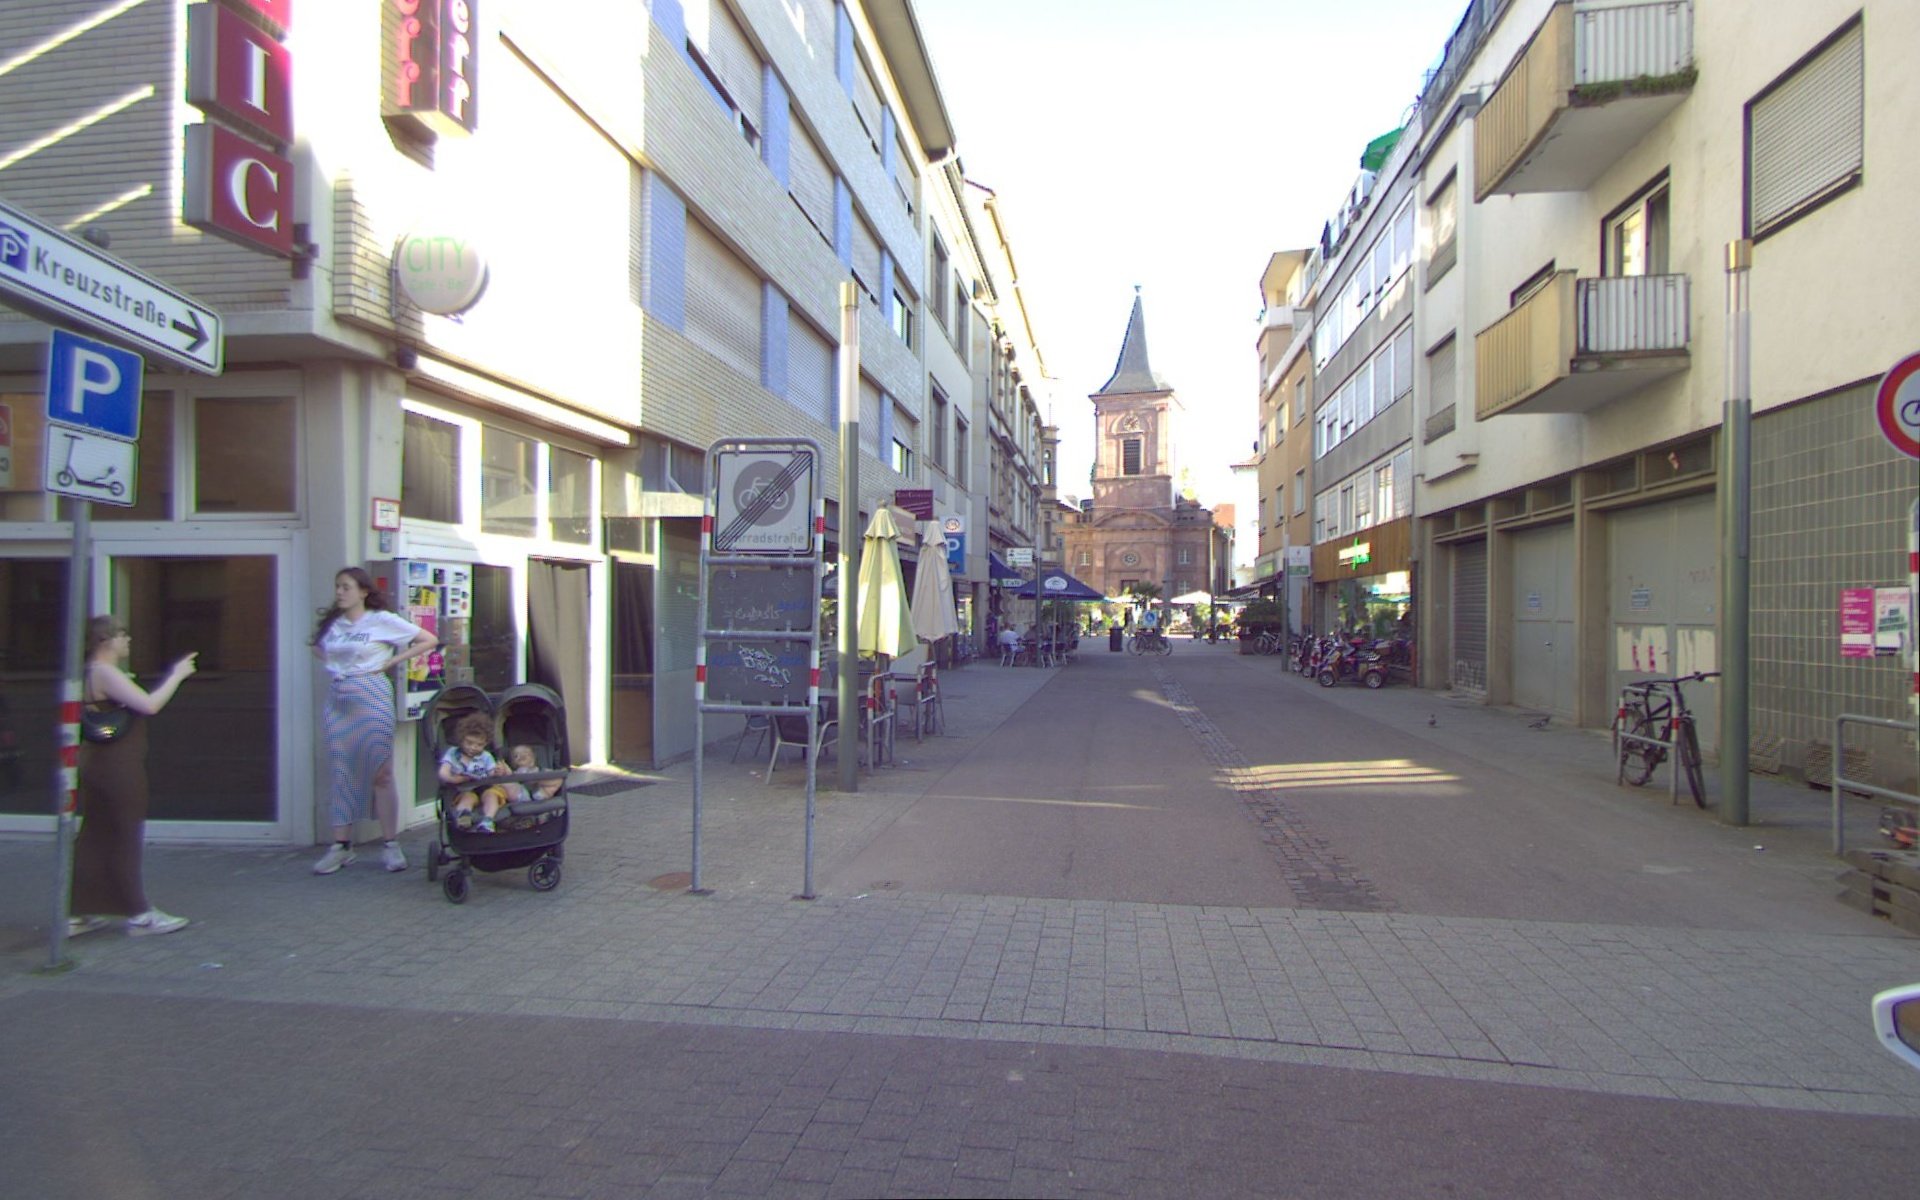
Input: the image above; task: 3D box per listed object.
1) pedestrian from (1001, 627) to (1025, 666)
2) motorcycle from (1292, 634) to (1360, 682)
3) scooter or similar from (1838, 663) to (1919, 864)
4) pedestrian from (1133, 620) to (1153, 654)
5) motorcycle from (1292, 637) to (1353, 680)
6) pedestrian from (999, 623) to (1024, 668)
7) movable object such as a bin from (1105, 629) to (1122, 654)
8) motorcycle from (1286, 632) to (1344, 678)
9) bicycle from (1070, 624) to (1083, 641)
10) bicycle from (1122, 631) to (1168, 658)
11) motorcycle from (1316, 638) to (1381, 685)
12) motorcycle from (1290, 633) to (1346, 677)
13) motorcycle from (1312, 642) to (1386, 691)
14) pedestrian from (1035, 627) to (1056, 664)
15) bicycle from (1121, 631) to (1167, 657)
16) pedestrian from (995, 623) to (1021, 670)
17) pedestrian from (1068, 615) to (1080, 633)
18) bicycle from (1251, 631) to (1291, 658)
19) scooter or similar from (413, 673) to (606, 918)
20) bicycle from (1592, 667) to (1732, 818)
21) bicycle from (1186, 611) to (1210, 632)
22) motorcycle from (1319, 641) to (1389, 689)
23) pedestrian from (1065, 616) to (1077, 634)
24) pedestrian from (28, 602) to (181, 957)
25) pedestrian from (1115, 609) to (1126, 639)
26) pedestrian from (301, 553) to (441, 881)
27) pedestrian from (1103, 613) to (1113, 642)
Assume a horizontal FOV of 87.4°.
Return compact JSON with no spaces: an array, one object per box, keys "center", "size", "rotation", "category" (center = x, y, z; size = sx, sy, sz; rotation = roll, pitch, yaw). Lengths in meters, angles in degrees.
[{"center":[1.745,1.543,33.394],"size":[0.752,1.249,0.831],"rotation":[1,0,1],"category":"pedestrian"},{"center":[9.416,1.480,25.882],"size":[1.600,1.190,0.480],"rotation":[0,-1,27],"category":"motorcycle"},{"center":[6.379,1.075,6.562],"size":[0.302,1.269,1.240],"rotation":[1,-1,6],"category":"scooter or similar"},{"center":[8.128,1.657,44.674],"size":[0.868,1.483,0.731],"rotation":[1,0,10],"category":"pedestrian"},{"center":[9.531,1.536,26.433],"size":[1.461,1.090,0.411],"rotation":[0,-1,27],"category":"motorcycle"},{"center":[1.632,1.443,31.748],"size":[0.706,1.386,0.710],"rotation":[1,0,-3],"category":"pedestrian"},{"center":[6.679,1.795,43.655],"size":[0.709,1.089,0.374],"rotation":[1,0,8],"category":"movable object such as a bin"},{"center":[9.620,1.476,27.257],"size":[1.460,1.197,0.412],"rotation":[0,-1,24],"category":"motorcycle"},{"center":[6.192,1.711,53.178],"size":[0.449,0.861,2.148],"rotation":[1,-1,12],"category":"bicycle"},{"center":[7.399,1.785,40.180],"size":[1.792,1.018,0.381],"rotation":[1,0,6],"category":"bicycle"},{"center":[9.477,1.498,24.523],"size":[1.461,1.090,0.411],"rotation":[0,-1,27],"category":"motorcycle"},{"center":[10.106,1.544,28.393],"size":[1.460,1.197,0.412],"rotation":[0,-1,24],"category":"motorcycle"},{"center":[8.828,1.492,22.807],"size":[1.540,1.055,0.372],"rotation":[0,-1,27],"category":"motorcycle"},{"center":[2.862,1.520,33.657],"size":[0.680,1.231,0.583],"rotation":[1,0,1],"category":"pedestrian"},{"center":[7.439,1.773,40.584],"size":[1.792,1.018,0.381],"rotation":[1,0,6],"category":"bicycle"},{"center":[1.460,1.416,30.697],"size":[0.696,1.386,0.719],"rotation":[1,0,-3],"category":"pedestrian"},{"center":[7.752,1.626,68.422],"size":[0.688,1.234,0.720],"rotation":[1,0,15],"category":"pedestrian"},{"center":[12.117,1.735,39.154],"size":[1.438,1.018,0.573],"rotation":[1,0,16],"category":"bicycle"},{"center":[-2.598,1.048,5.764],"size":[0.792,1.159,0.943],"rotation":[1,1,-39],"category":"scooter or similar"},{"center":[6.244,1.213,9.016],"size":[0.439,1.155,1.711],"rotation":[1,-2,14],"category":"bicycle"},{"center":[15.430,1.414,65.035],"size":[1.567,1.325,0.364],"rotation":[1,0,-20],"category":"bicycle"},{"center":[9.218,1.510,23.522],"size":[1.493,1.090,0.411],"rotation":[0,-1,27],"category":"motorcycle"},{"center":[7.424,1.666,67.024],"size":[0.688,1.234,0.720],"rotation":[1,0,15],"category":"pedestrian"},{"center":[-4.191,0.822,4.937],"size":[0.507,1.601,0.527],"rotation":[-2,3,-41],"category":"pedestrian"},{"center":[9.889,1.449,61.932],"size":[0.604,1.832,0.615],"rotation":[1,0,5],"category":"pedestrian"},{"center":[-3.546,0.647,6.046],"size":[0.653,1.844,0.565],"rotation":[-2,3,-35],"category":"pedestrian"},{"center":[9.243,1.715,62.778],"size":[0.604,1.832,0.615],"rotation":[1,0,5],"category":"pedestrian"}]
